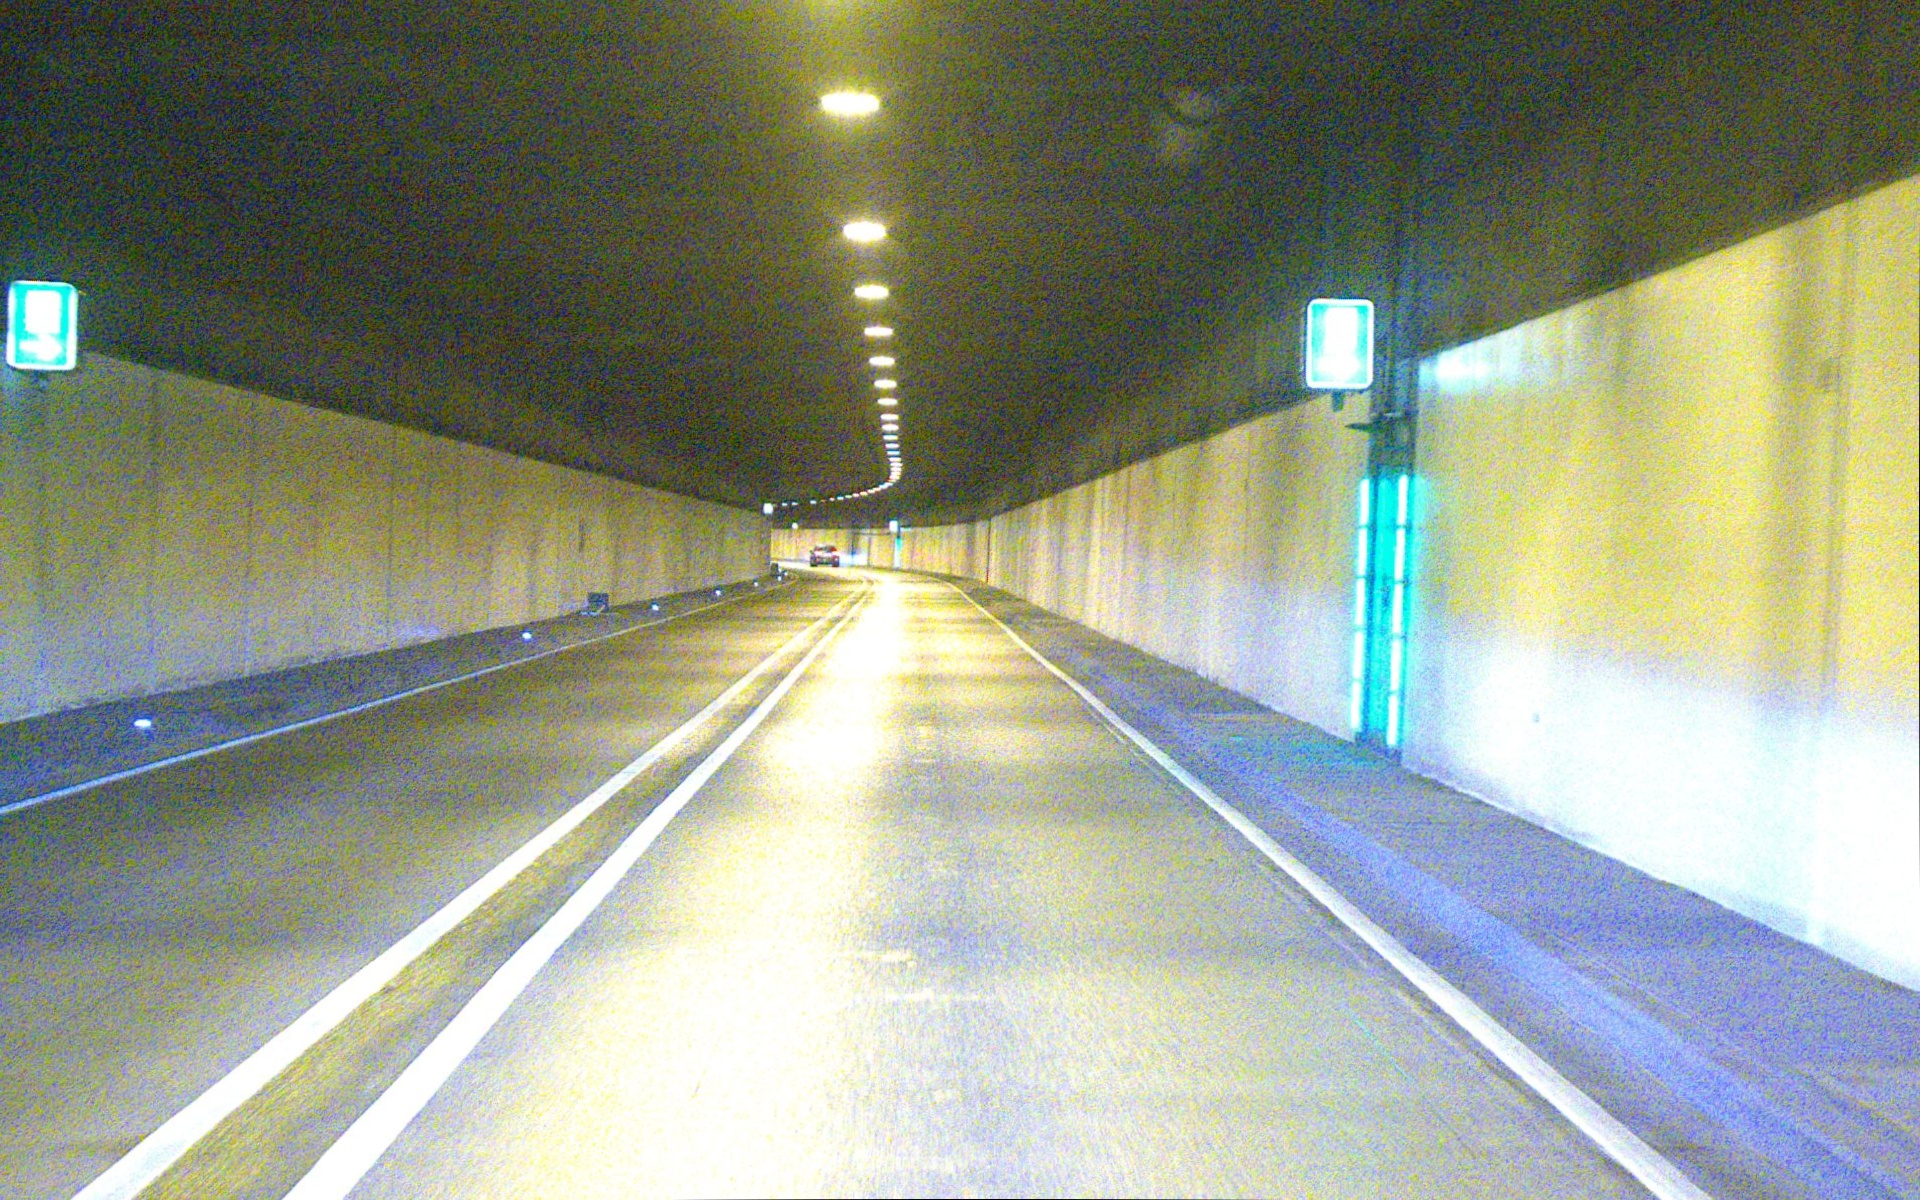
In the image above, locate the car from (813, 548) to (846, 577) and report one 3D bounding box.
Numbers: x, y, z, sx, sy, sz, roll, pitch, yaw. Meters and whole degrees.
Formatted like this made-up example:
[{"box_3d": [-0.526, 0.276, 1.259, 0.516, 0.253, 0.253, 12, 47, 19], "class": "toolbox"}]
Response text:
[{"box_3d": [-9.276, -2.649, 244.127, 1.966, 1.932, 4.613, 3, 0, -5], "class": "car"}]
